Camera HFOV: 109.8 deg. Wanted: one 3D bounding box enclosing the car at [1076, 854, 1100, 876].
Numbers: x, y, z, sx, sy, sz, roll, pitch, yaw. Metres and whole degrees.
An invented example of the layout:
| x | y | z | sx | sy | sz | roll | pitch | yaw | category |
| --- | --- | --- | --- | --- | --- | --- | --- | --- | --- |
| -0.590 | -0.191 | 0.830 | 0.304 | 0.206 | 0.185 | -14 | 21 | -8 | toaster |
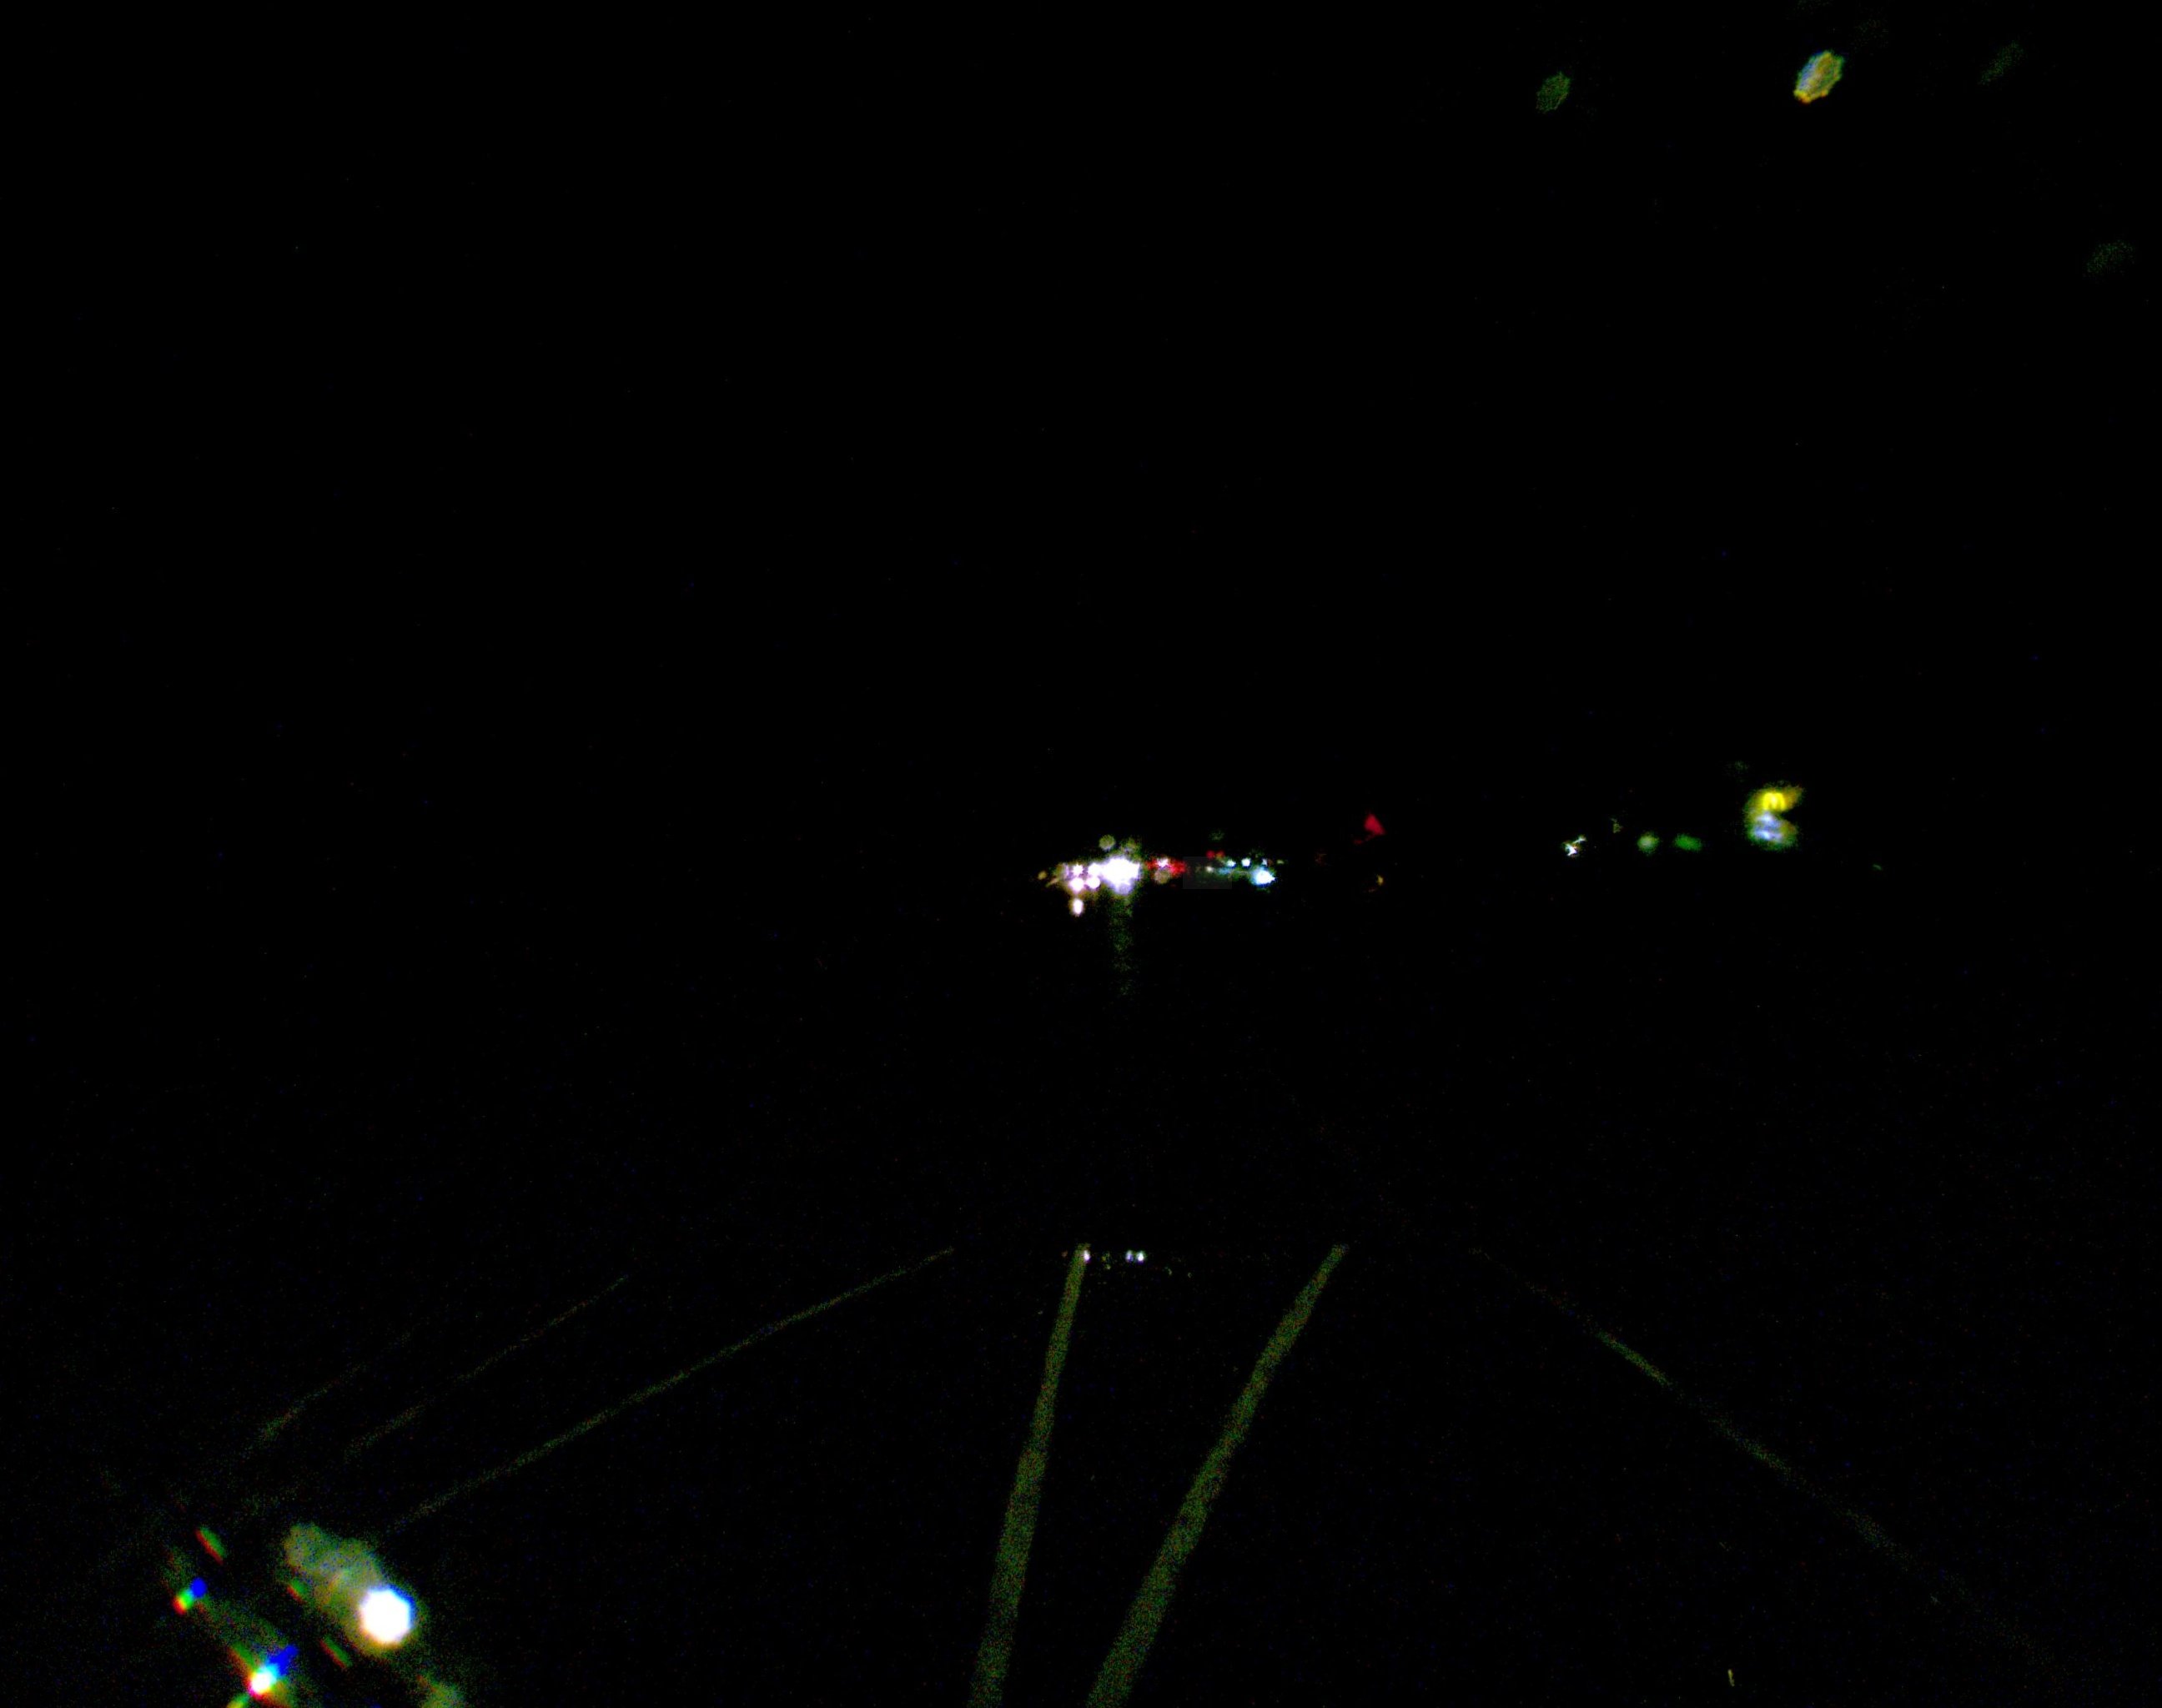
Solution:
| x | y | z | sx | sy | sz | roll | pitch | yaw | category |
| --- | --- | --- | --- | --- | --- | --- | --- | --- | --- |
| 0.640 | 0.943 | 66.573 | 1.877 | 1.824 | 4.206 | -1 | 0 | 3 | car |

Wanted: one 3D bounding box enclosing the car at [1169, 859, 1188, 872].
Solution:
| x | y | z | sx | sy | sz | roll | pitch | yaw | category |
| --- | --- | --- | --- | --- | --- | --- | --- | --- | --- |
| 11.689 | 1.378 | 91.014 | 1.808 | 1.416 | 4.205 | -1 | 1 | 1 | car |

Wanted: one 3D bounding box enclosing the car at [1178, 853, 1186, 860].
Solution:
| x | y | z | sx | sy | sz | roll | pitch | yaw | category |
| --- | --- | --- | --- | --- | --- | --- | --- | --- | --- |
| 28.515 | 0.707 | 214.027 | 1.997 | 2.002 | 4.002 | -1 | 1 | 9 | car |

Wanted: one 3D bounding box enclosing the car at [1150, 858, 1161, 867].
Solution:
| x | y | z | sx | sy | sz | roll | pitch | yaw | category |
| --- | --- | --- | --- | --- | --- | --- | --- | --- | --- |
| 13.116 | 1.465 | 133.863 | 1.807 | 1.416 | 4.207 | -1 | 1 | 7 | car |

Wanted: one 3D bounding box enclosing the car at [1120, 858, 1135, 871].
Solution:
| x | y | z | sx | sy | sz | roll | pitch | yaw | category |
| --- | --- | --- | --- | --- | --- | --- | --- | --- | --- |
| 6.486 | 1.444 | 106.212 | 1.913 | 1.693 | 4.941 | -1 | 0 | 6 | car |

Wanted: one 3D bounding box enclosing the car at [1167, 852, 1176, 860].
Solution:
| x | y | z | sx | sy | sz | roll | pitch | yaw | category |
| --- | --- | --- | --- | --- | --- | --- | --- | --- | --- |
| 22.529 | 0.538 | 189.483 | 1.997 | 2.002 | 4.003 | -1 | 1 | 11 | car |

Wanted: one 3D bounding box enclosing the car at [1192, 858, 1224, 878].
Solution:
| x | y | z | sx | sy | sz | roll | pitch | yaw | category |
| --- | --- | --- | --- | --- | --- | --- | --- | --- | --- |
| 11.820 | 1.241 | 71.226 | 2.094 | 1.691 | 4.576 | -2 | 1 | -1 | car |

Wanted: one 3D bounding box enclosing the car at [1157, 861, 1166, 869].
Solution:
| x | y | z | sx | sy | sz | roll | pitch | yaw | category |
| --- | --- | --- | --- | --- | --- | --- | --- | --- | --- |
| 21.732 | 2.885 | 205.547 | 1.997 | 2.002 | 4.003 | -1 | 1 | 11 | car |
